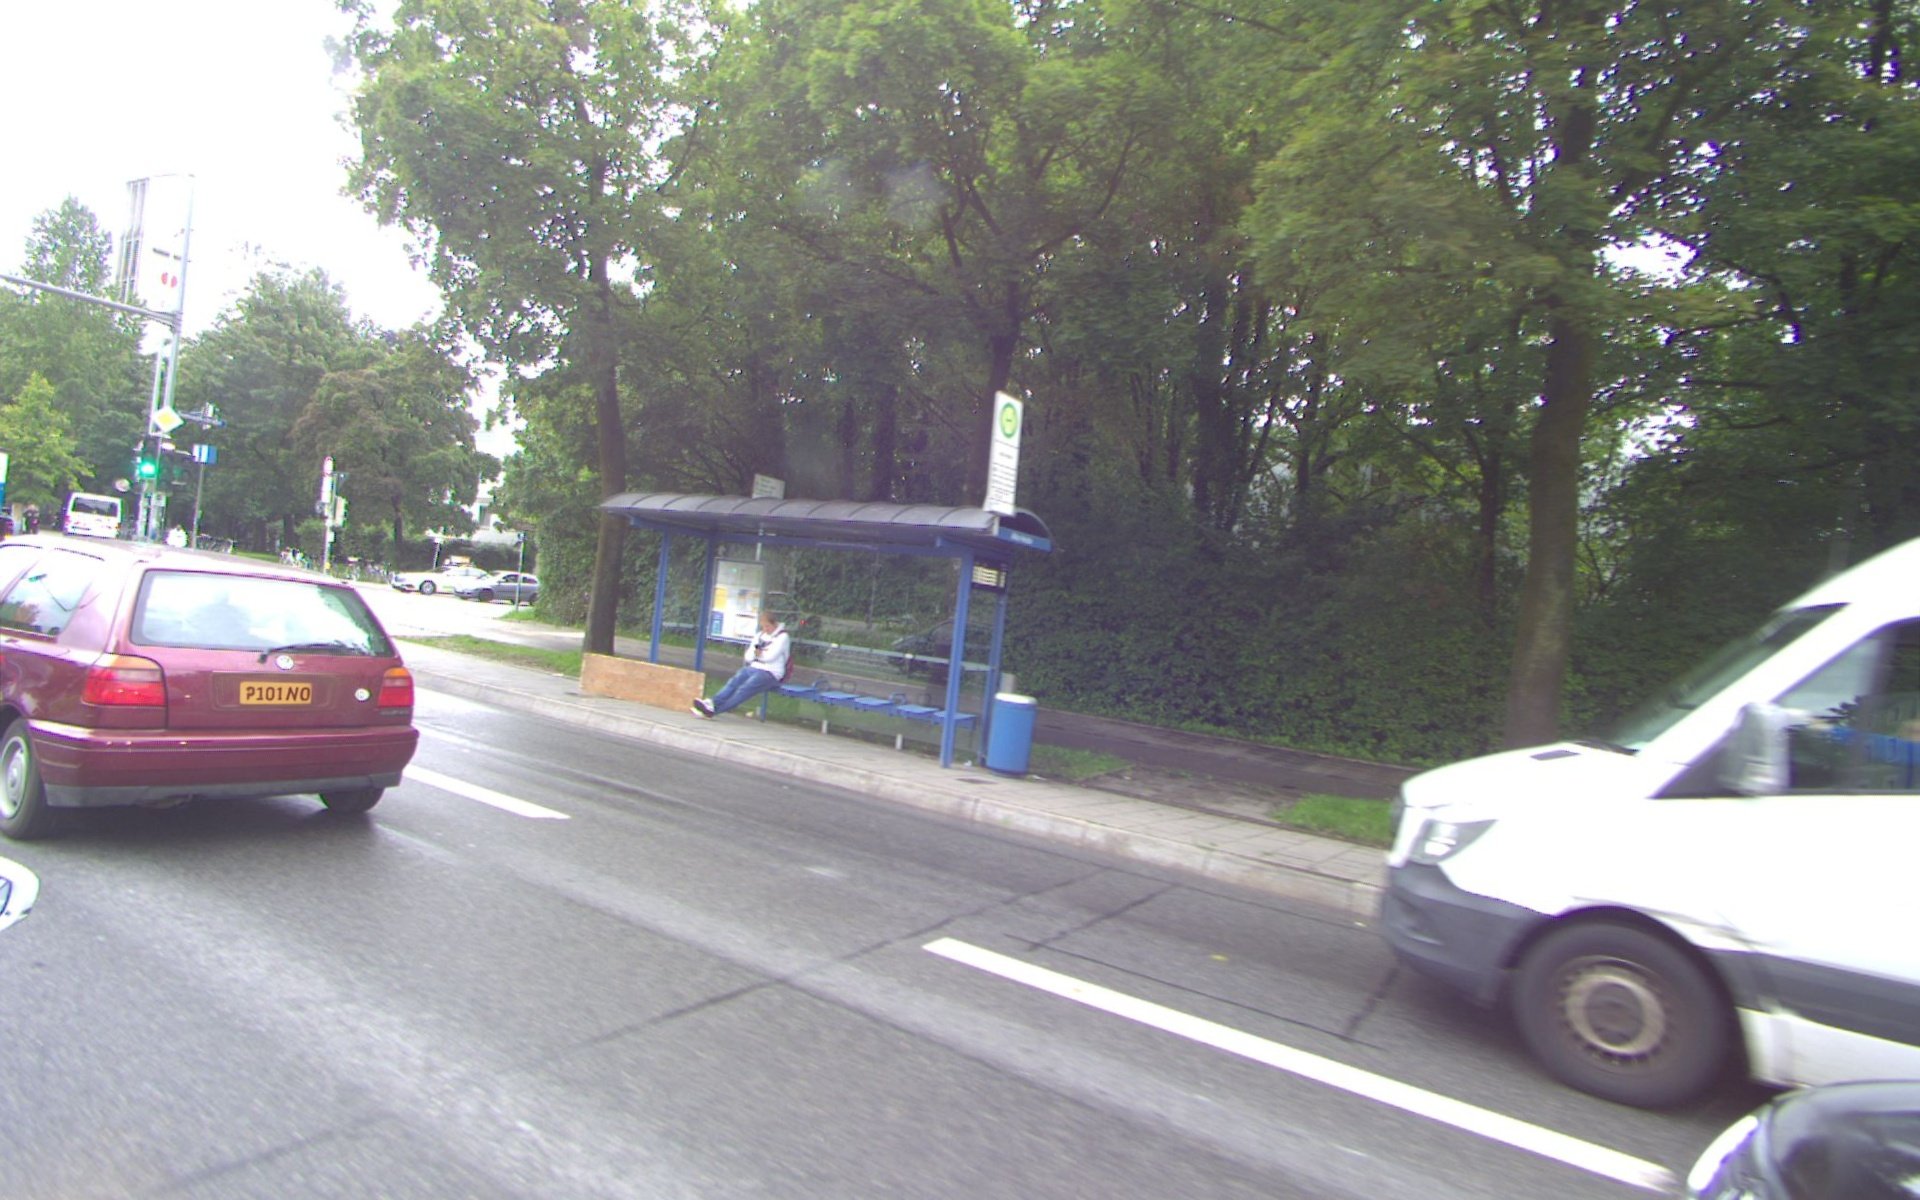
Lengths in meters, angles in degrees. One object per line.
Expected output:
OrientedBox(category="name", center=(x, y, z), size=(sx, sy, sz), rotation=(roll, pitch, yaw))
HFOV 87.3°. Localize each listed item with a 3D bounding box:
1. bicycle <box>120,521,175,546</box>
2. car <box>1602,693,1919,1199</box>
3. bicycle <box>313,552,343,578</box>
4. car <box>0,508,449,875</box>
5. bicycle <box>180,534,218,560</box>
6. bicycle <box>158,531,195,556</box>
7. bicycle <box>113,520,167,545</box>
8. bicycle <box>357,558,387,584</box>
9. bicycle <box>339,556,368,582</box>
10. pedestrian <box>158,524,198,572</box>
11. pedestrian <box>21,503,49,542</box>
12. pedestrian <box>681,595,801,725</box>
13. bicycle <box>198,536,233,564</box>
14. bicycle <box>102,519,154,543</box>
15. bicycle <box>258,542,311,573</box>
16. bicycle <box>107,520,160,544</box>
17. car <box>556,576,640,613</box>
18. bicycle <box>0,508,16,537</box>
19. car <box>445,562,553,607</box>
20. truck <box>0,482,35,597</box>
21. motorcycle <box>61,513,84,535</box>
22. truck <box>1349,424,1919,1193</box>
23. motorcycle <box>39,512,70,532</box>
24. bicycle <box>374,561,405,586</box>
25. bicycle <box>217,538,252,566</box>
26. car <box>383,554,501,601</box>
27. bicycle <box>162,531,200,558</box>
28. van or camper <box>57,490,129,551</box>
OrientedBox(category="bicycle", center=(-46.681, -3.812, 57.830), size=(0.520, 1.172, 2.338), rotation=(7, 2, 33))
OrientedBox(category="car", center=(3.189, 1.124, 0.598), size=(4.594, 1.492, 1.750), rotation=(6, -2, 32))
OrientedBox(category="bicycle", center=(-31.332, -1.721, 49.837), size=(2.085, 1.108, 0.607), rotation=(6, 0, 41))
OrientedBox(category="car", center=(-4.912, 0.288, 5.841), size=(3.885, 1.471, 1.624), rotation=(6, -1, 33))
OrientedBox(category="bicycle", center=(-38.708, -2.700, 51.199), size=(0.707, 1.167, 2.122), rotation=(6, -1, -16))
OrientedBox(category="bicycle", center=(-40.662, -2.919, 52.226), size=(0.707, 1.167, 2.122), rotation=(6, -1, -16))
OrientedBox(category="bicycle", center=(-47.558, -3.907, 58.381), size=(0.520, 1.172, 2.338), rotation=(7, 2, 33))
OrientedBox(category="bicycle", center=(-29.404, -1.450, 50.308), size=(2.085, 1.108, 0.607), rotation=(6, 0, 41))
OrientedBox(category="bicycle", center=(-30.050, -1.557, 49.839), size=(2.086, 1.108, 0.606), rotation=(6, 0, 43))
OrientedBox(category="pedestrian", center=(-30.559, -2.028, 39.306), size=(0.922, 1.724, 0.761), rotation=(6, 0, 24))
OrientedBox(category="pedestrian", center=(-39.793, -3.325, 43.270), size=(0.687, 1.557, 0.730), rotation=(6, 0, -38))
OrientedBox(category="pedestrian", center=(-2.583, 0.733, 11.968), size=(0.601, 1.398, 1.157), rotation=(6, -3, 30))
OrientedBox(category="bicycle", center=(-36.536, -2.473, 49.354), size=(2.096, 1.167, 0.716), rotation=(6, 0, 36))
OrientedBox(category="bicycle", center=(-50.150, -4.161, 60.643), size=(0.520, 1.172, 2.338), rotation=(7, 2, 33))
OrientedBox(category="bicycle", center=(-33.177, -2.081, 49.417), size=(2.074, 1.266, 0.704), rotation=(7, 0, 7))
OrientedBox(category="bicycle", center=(-48.915, -4.039, 59.592), size=(0.520, 1.172, 2.338), rotation=(7, 2, 33))
OrientedBox(category="car", center=(-18.875, -0.261, 52.573), size=(1.600, 1.471, 3.944), rotation=(6, -1, 30))
OrientedBox(category="bicycle", center=(-43.347, -3.531, 45.318), size=(1.969, 1.214, 0.860), rotation=(6, 1, 37))
OrientedBox(category="car", center=(-20.046, -0.664, 43.904), size=(1.601, 1.471, 3.940), rotation=(6, -1, 34))
OrientedBox(category="truck", center=(-19.955, -1.386, 19.476), size=(5.727, 2.038, 2.097), rotation=(6, -1, 39))
OrientedBox(category="motorcycle", center=(-54.370, -4.650, 61.642), size=(0.652, 1.192, 1.799), rotation=(6, 0, -31))
OrientedBox(category="truck", center=(5.364, 0.949, 3.402), size=(7.107, 2.634, 1.997), rotation=(6, -1, 31))
OrientedBox(category="motorcycle", center=(-55.220, -4.759, 61.365), size=(0.649, 1.075, 1.806), rotation=(6, -1, -18))
OrientedBox(category="bicycle", center=(-28.661, -1.343, 50.532), size=(2.085, 1.108, 0.607), rotation=(6, 0, 41))
OrientedBox(category="bicycle", center=(-36.086, -2.401, 50.043), size=(2.096, 1.167, 0.696), rotation=(6, 0, 36))
OrientedBox(category="car", center=(-23.161, -0.975, 45.144), size=(1.855, 1.515, 4.308), rotation=(6, -1, 30))
OrientedBox(category="bicycle", center=(-39.469, -2.809, 50.997), size=(0.707, 1.167, 2.122), rotation=(6, -1, -16))
OrientedBox(category="van or camper", center=(-40.065, -3.652, 46.630), size=(2.132, 2.324, 6.133), rotation=(7, -1, -39))
